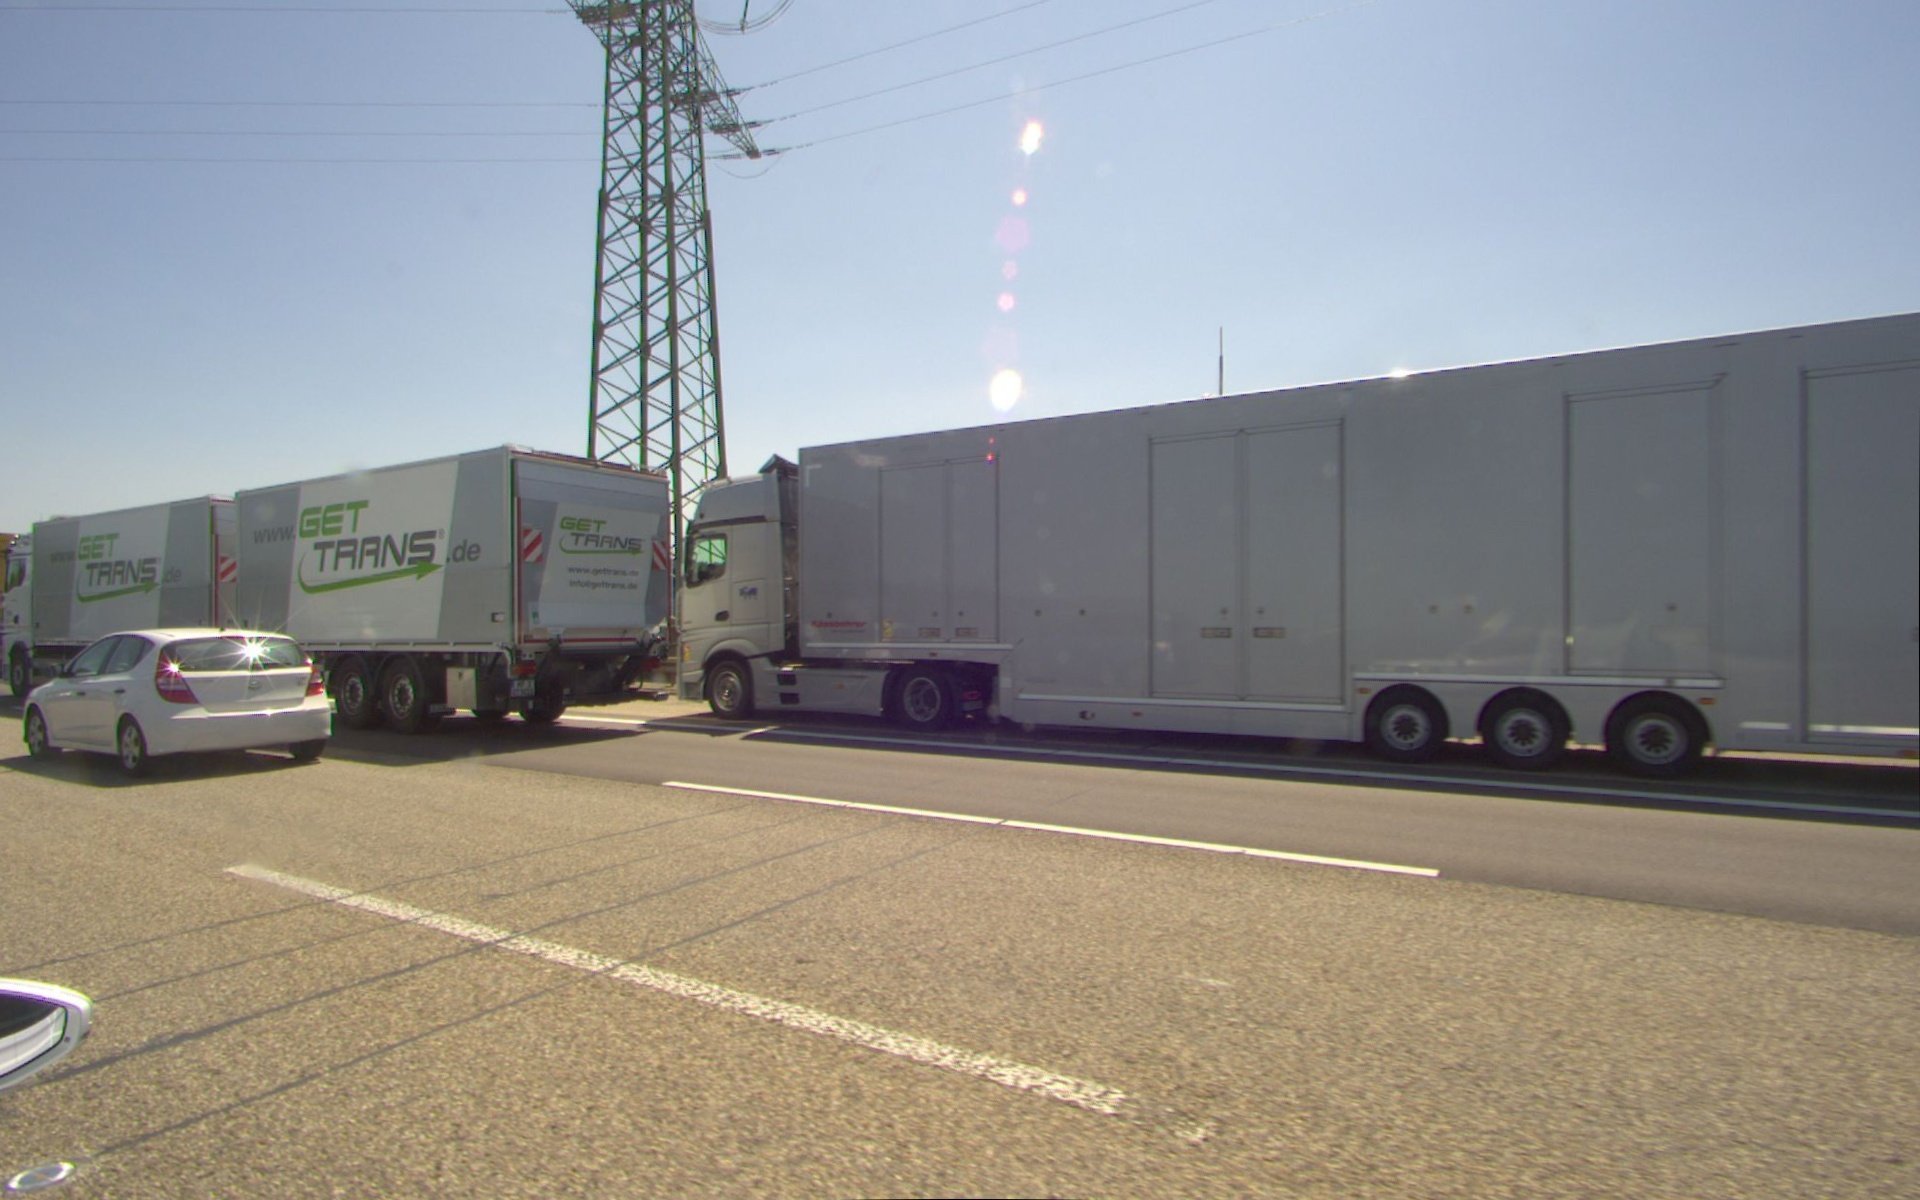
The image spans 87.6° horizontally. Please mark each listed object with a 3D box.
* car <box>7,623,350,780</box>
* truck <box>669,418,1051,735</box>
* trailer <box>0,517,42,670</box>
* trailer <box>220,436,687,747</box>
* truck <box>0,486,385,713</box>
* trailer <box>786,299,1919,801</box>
[{"bbox_3d":[-8.993,1.013,11.439,4.232,1.474,1.785,-1,-1,32],"label":"car"},{"bbox_3d":[-1.641,-0.239,15.748,5.633,4.172,2.513,-1,-1,32],"label":"truck"},{"bbox_3d":[-30.919,-0.109,29.971,8.883,4.293,2.860,-1,-2,32],"label":"trailer"},{"bbox_3d":[-7.962,-0.046,15.311,7.899,3.749,2.693,-1,0,32],"label":"trailer"},{"bbox_3d":[-15.930,0.066,20.274,10.852,3.696,2.651,-1,0,32],"label":"truck"},{"bbox_3d":[3.842,-0.304,12.360,13.573,4.172,2.531,-1,-1,32],"label":"trailer"}]
